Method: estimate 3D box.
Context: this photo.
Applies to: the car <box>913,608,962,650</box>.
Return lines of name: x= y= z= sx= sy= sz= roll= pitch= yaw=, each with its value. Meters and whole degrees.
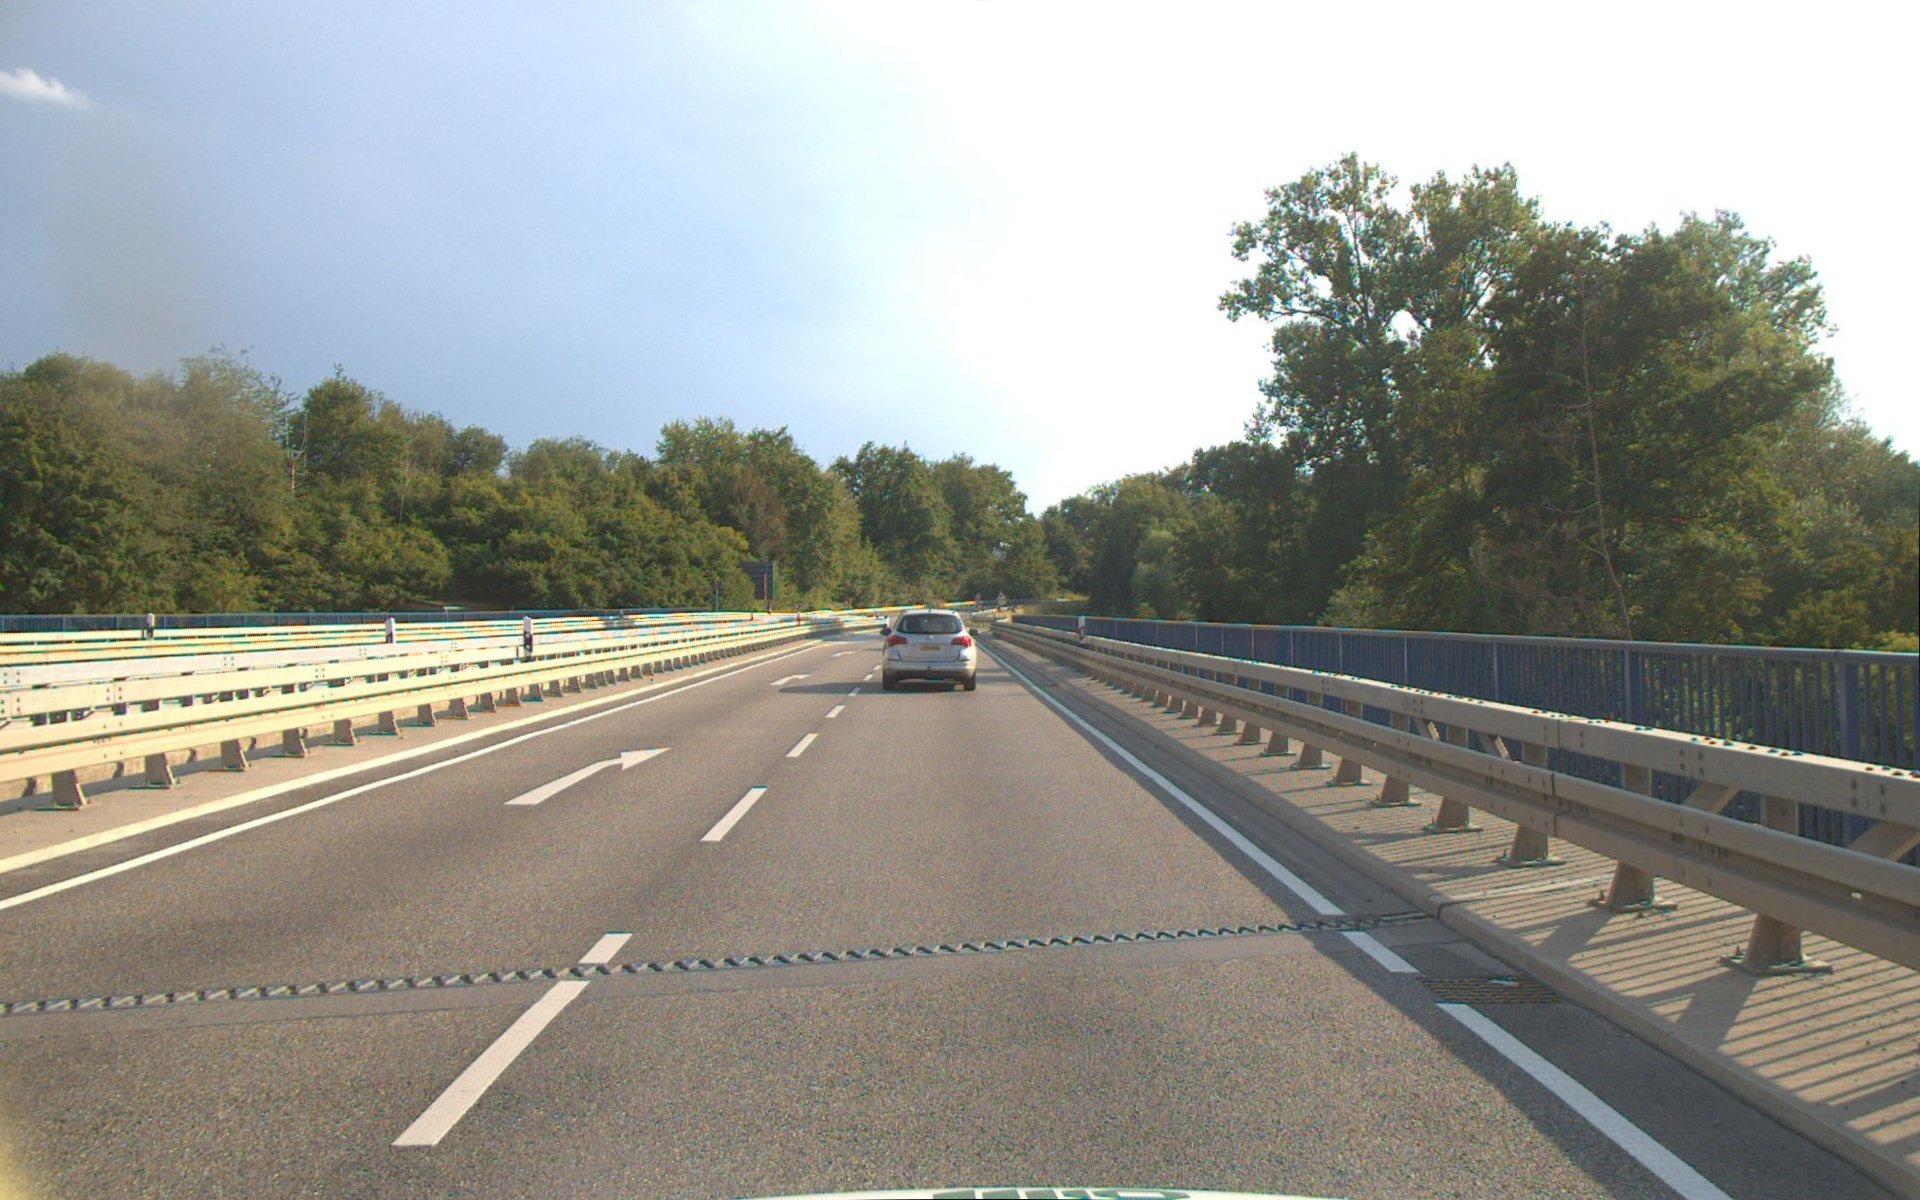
car: x=-0.866 y=1.103 z=62.525 sx=1.772 sy=1.512 sz=3.998 roll=1 pitch=-1 yaw=-2

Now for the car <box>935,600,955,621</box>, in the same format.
car: x=-1.540 y=1.089 z=167.171 sx=1.953 sy=2.049 sz=3.999 roll=1 pitch=-1 yaw=-1

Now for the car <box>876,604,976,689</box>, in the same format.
car: x=-0.667 y=0.870 z=31.843 sx=1.772 sy=1.512 sz=3.998 roll=1 pitch=-1 yaw=-2
